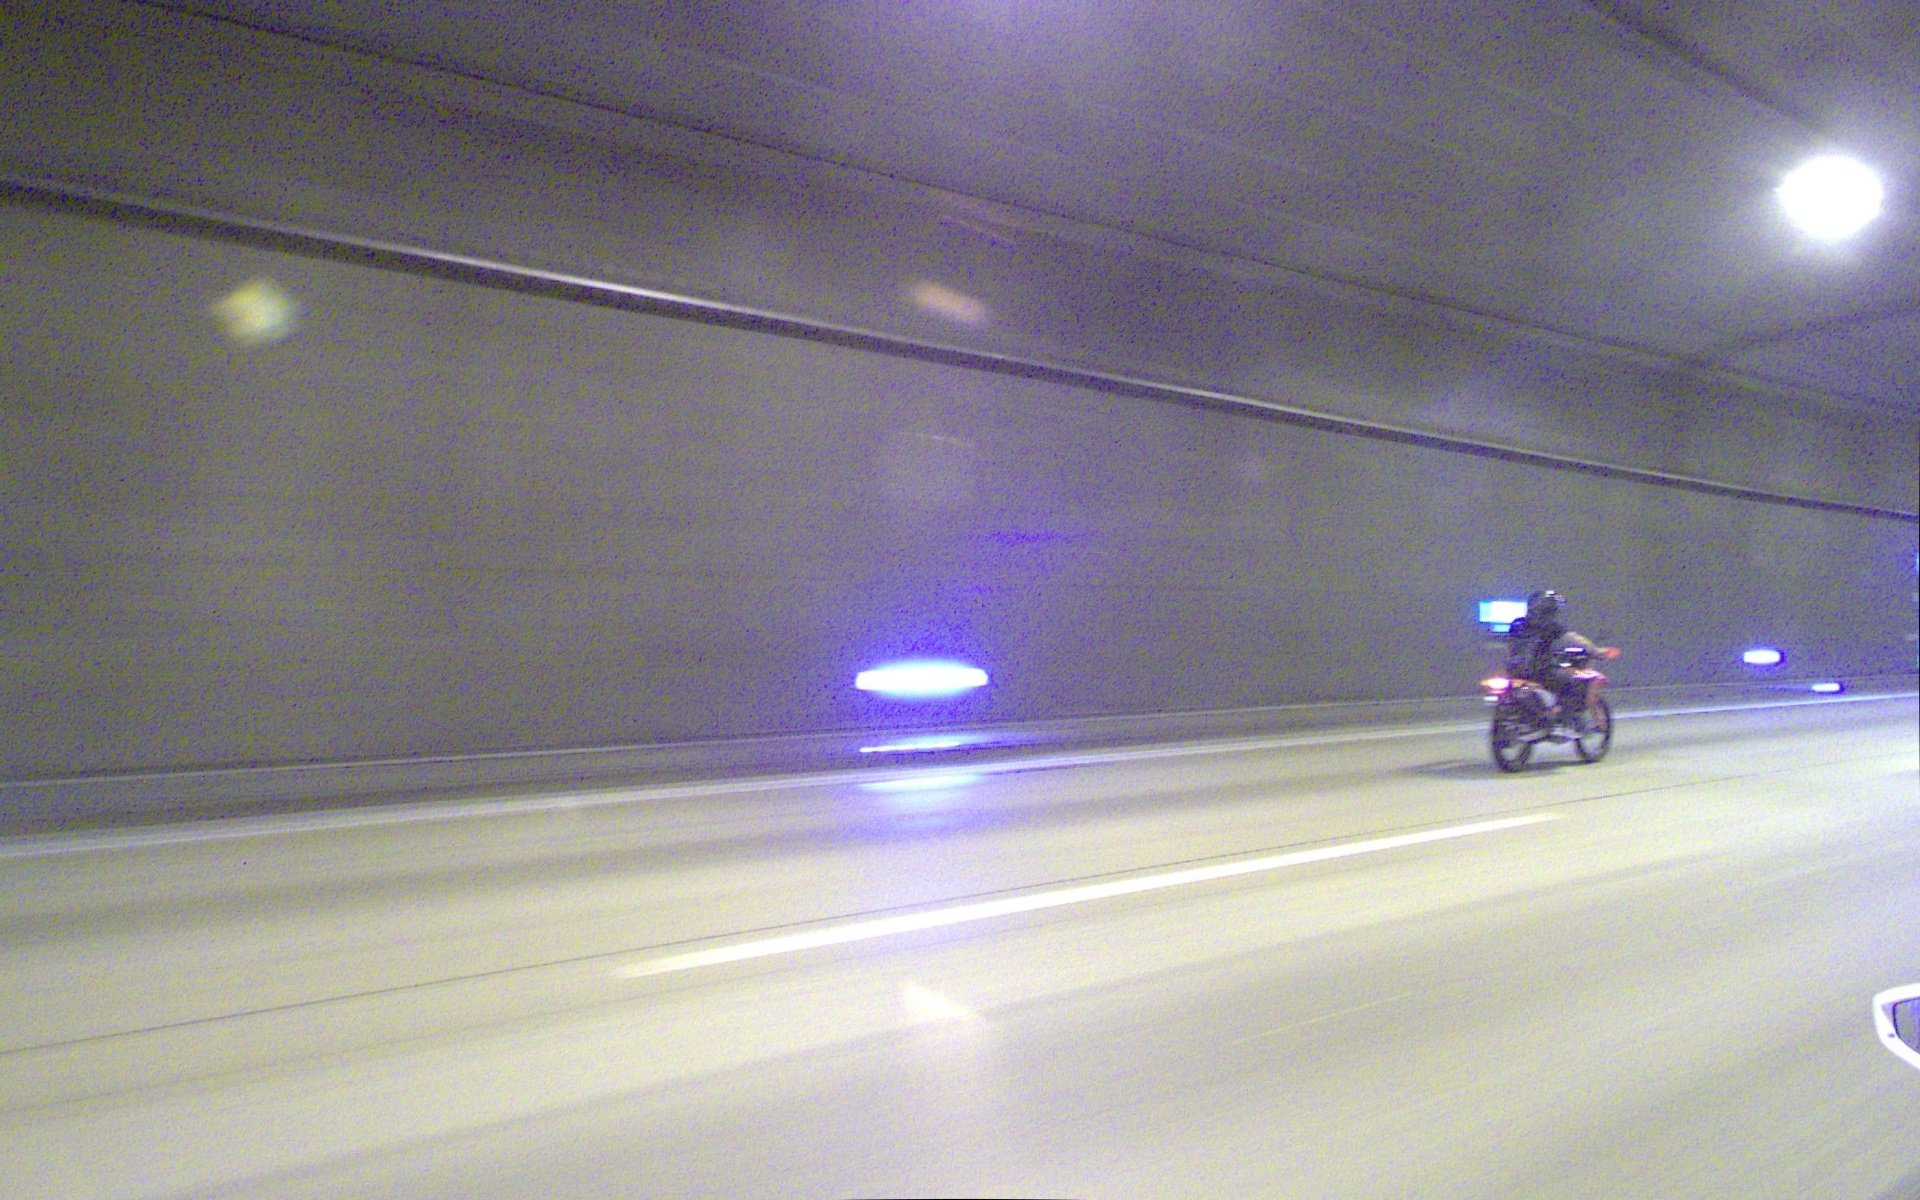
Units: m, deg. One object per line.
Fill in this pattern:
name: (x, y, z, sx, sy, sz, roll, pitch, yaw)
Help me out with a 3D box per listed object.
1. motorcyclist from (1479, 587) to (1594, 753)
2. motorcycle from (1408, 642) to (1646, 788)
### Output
motorcyclist: (5.532, 0.647, 9.645, 0.881, 1.509, 0.623, 2, 0, -35)
motorcycle: (5.466, 1.018, 9.634, 2.403, 1.173, 1.046, 1, 0, -35)
